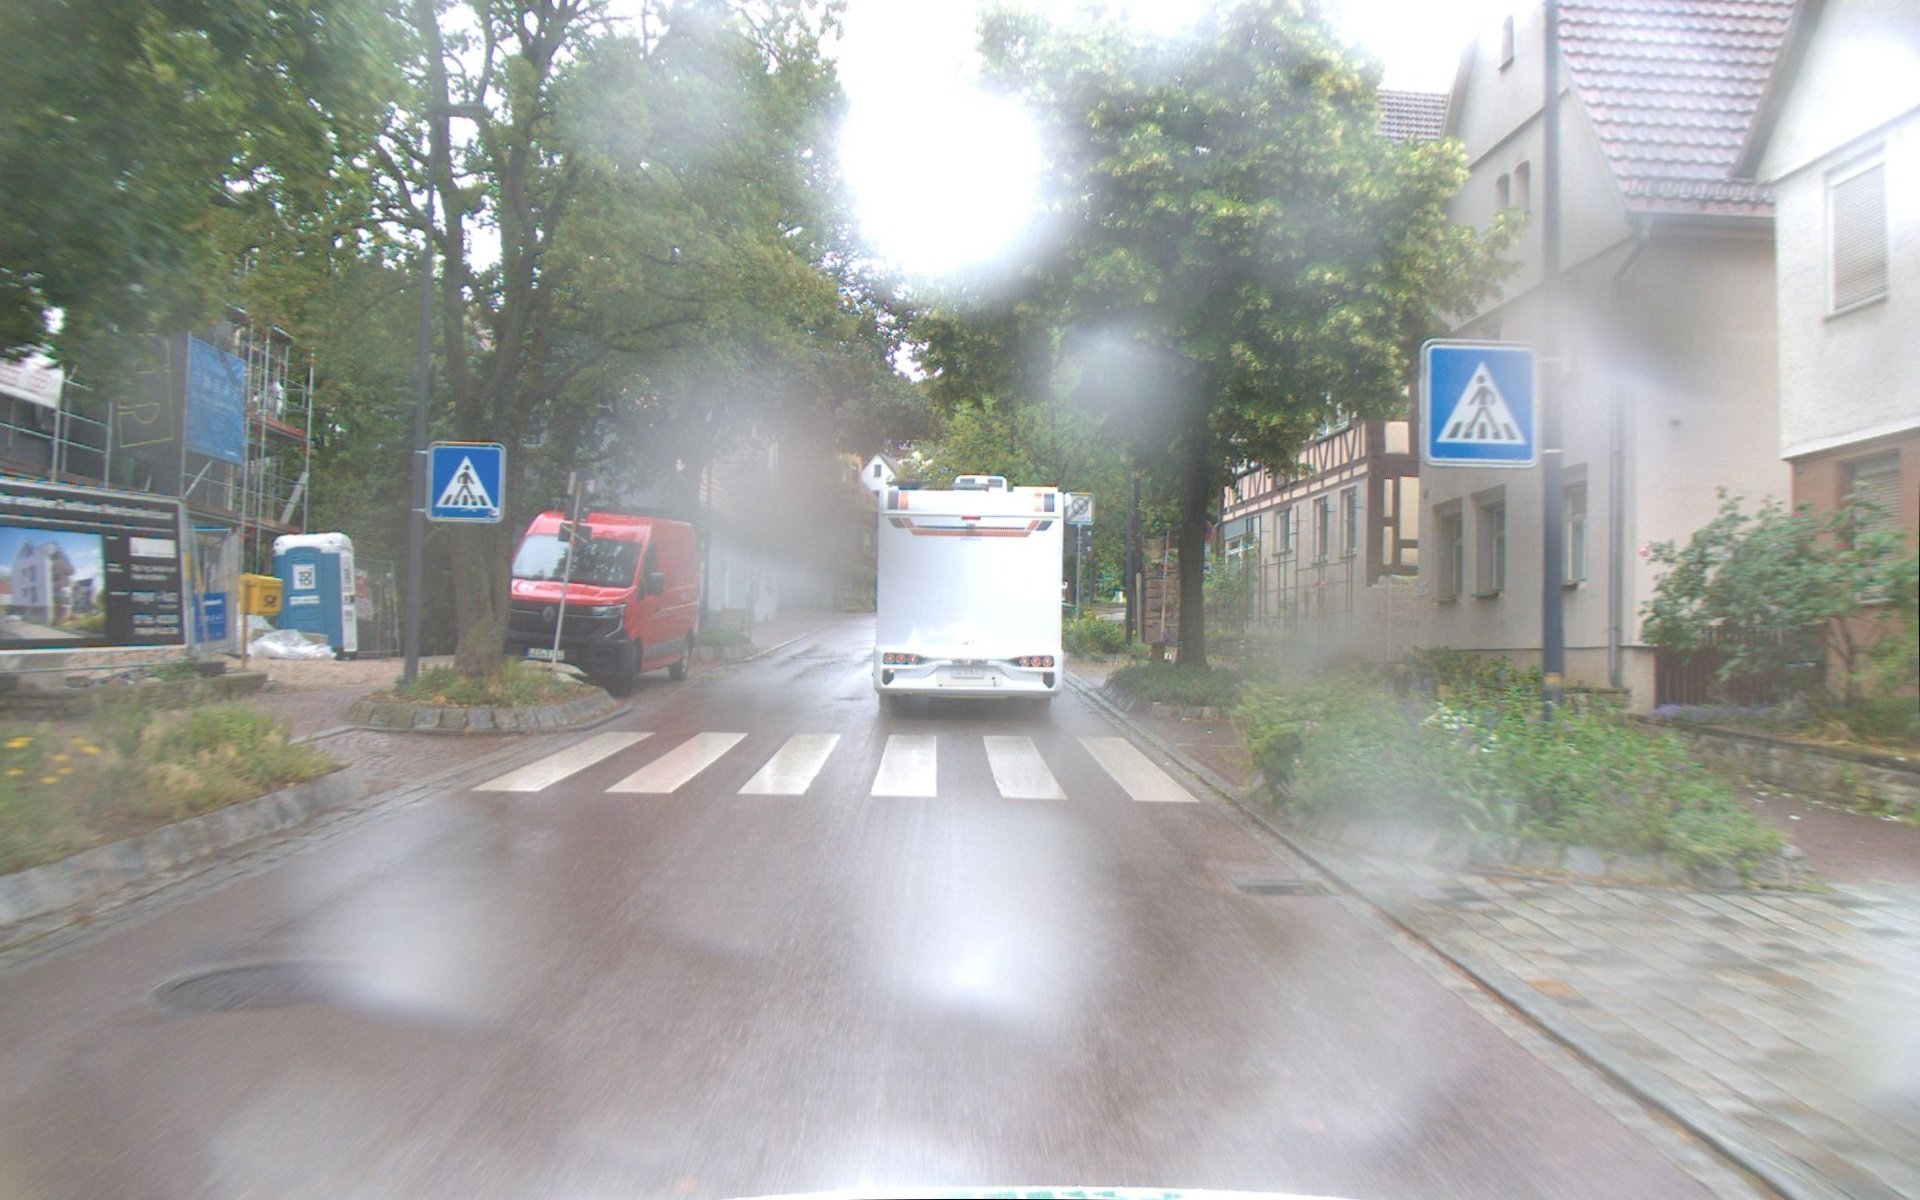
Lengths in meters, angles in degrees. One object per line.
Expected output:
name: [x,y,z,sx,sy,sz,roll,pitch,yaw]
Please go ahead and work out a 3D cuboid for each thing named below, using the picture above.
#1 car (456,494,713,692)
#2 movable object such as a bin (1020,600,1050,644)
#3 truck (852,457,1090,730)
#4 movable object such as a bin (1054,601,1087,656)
car: [-5.324,-0.134,24.433,2.256,2.526,5.786,1,1,2]
movable object such as a bin: [2.027,0.603,44.735,0.709,1.163,0.703,1,0,-3]
truck: [0.086,-0.059,21.946,2.640,3.038,6.235,1,0,-1]
movable object such as a bin: [2.579,0.660,38.658,0.706,1.234,0.727,1,0,-1]
